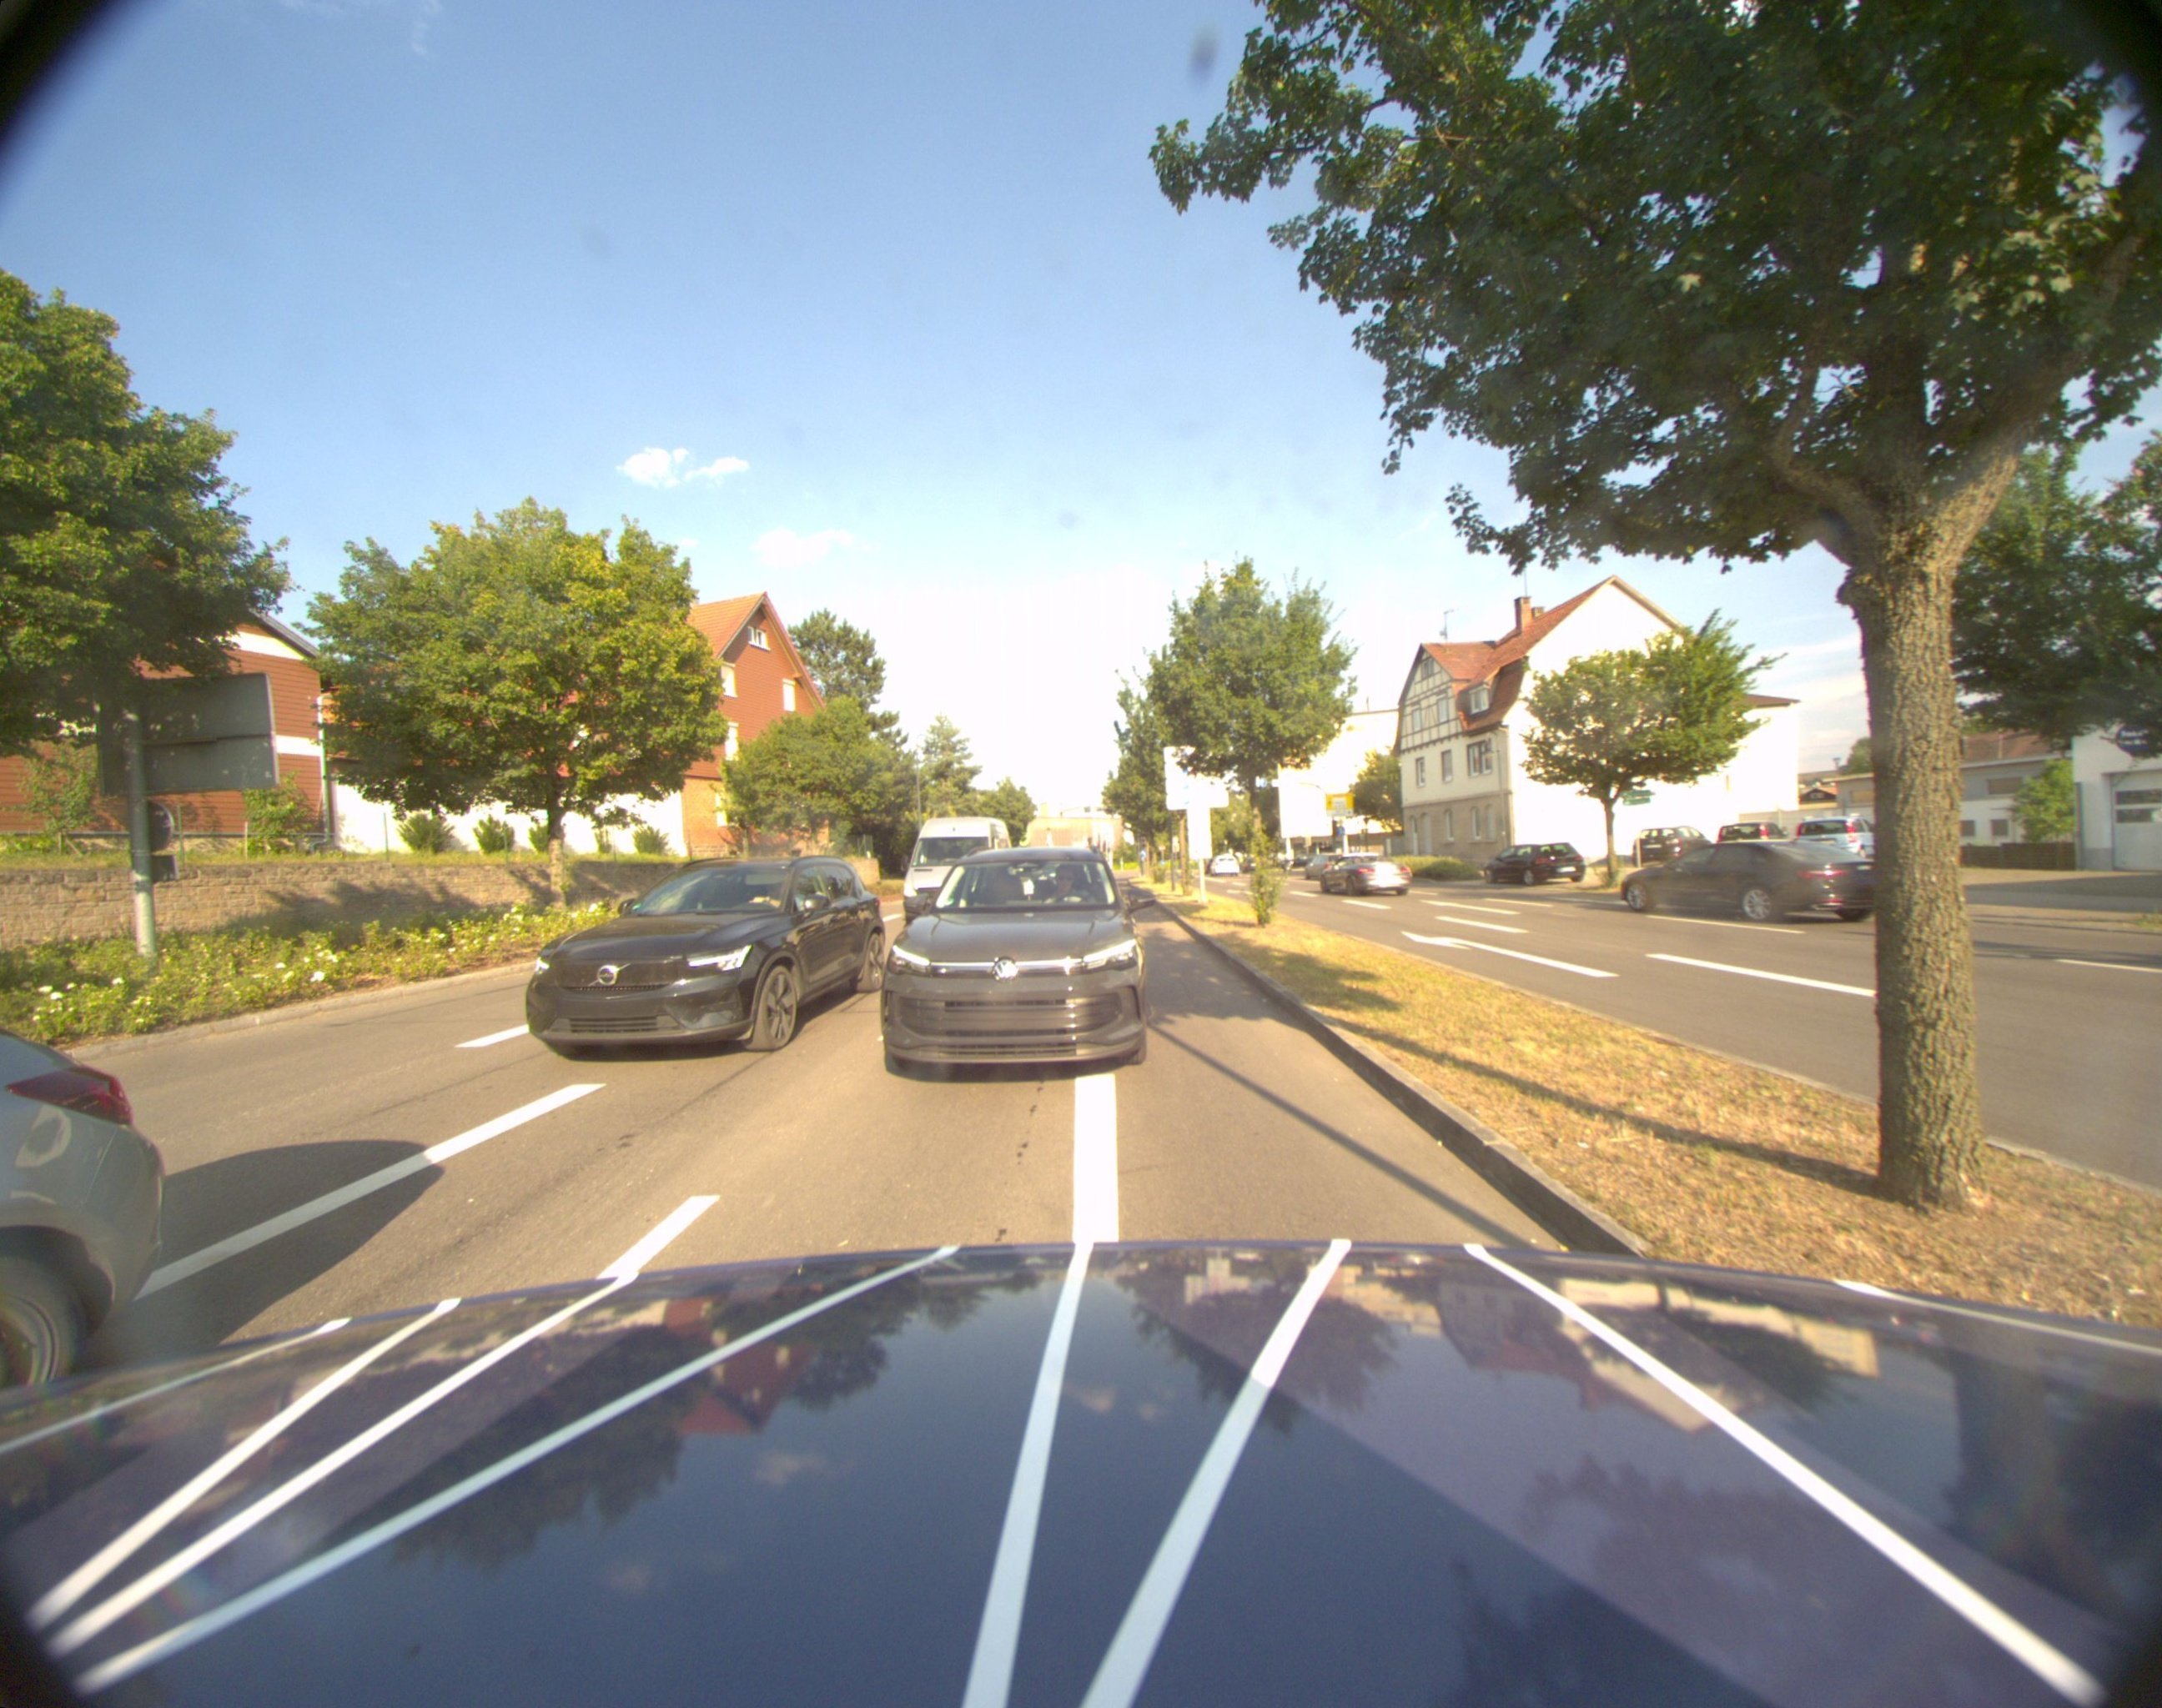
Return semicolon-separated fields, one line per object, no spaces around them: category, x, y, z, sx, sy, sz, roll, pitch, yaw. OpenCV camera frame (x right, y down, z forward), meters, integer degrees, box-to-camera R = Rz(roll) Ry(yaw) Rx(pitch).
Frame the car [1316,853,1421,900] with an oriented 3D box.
car;9.370;0.682;25.207;1.785;1.341;4.478;-2;0;1

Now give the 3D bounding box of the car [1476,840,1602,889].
car;15.993;0.321;26.800;1.839;1.435;4.195;-5;0;1

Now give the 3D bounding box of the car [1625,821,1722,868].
car;23.289;-0.392;29.841;4.006;1.543;1.764;-4;1;-33

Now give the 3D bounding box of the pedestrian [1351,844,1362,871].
pedestrian;21.182;0.270;58.425;0.698;1.971;0.589;-2;1;27

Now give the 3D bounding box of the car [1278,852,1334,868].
car;20.490;0.541;69.260;4.660;1.346;1.768;-2;1;9

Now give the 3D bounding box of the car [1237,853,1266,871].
car;14.791;0.672;66.073;1.811;1.488;4.246;-2;0;4

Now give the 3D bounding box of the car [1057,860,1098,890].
car;-0.132;1.071;39.640;1.765;1.346;4.132;-2;0;4

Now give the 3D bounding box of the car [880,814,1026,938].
car;-2.915;0.443;19.069;2.370;2.532;6.192;-2;0;2

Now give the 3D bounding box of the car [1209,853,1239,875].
car;10.614;0.703;56.513;1.805;1.488;3.957;-2;0;6

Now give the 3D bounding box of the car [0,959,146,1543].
car;-3.628;1.060;0.117;1.748;1.433;4.166;-2;0;0

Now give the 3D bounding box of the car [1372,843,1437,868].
car;27.659;0.096;64.944;4.946;1.912;1.826;-2;1;-14

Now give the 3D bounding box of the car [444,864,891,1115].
car;-3.366;0.964;7.294;1.886;1.599;4.128;-2;0;2

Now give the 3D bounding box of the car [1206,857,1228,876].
car;11.947;1.073;66.608;1.772;1.442;4.111;-2;0;11

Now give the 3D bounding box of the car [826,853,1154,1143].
car;-0.483;0.857;6.870;1.894;1.647;4.730;-2;0;1

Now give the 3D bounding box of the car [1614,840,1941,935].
car;12.467;0.513;14.139;1.848;1.413;4.644;-2;0;1

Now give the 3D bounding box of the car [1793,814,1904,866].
car;25.040;-0.480;24.773;4.006;1.543;1.763;-2;1;-33

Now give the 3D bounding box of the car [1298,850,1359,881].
car;13.129;0.569;40.598;1.690;1.454;4.711;-2;0;0

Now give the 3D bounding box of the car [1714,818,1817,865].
car;24.821;-0.475;27.520;4.006;1.543;1.763;-2;1;-33
